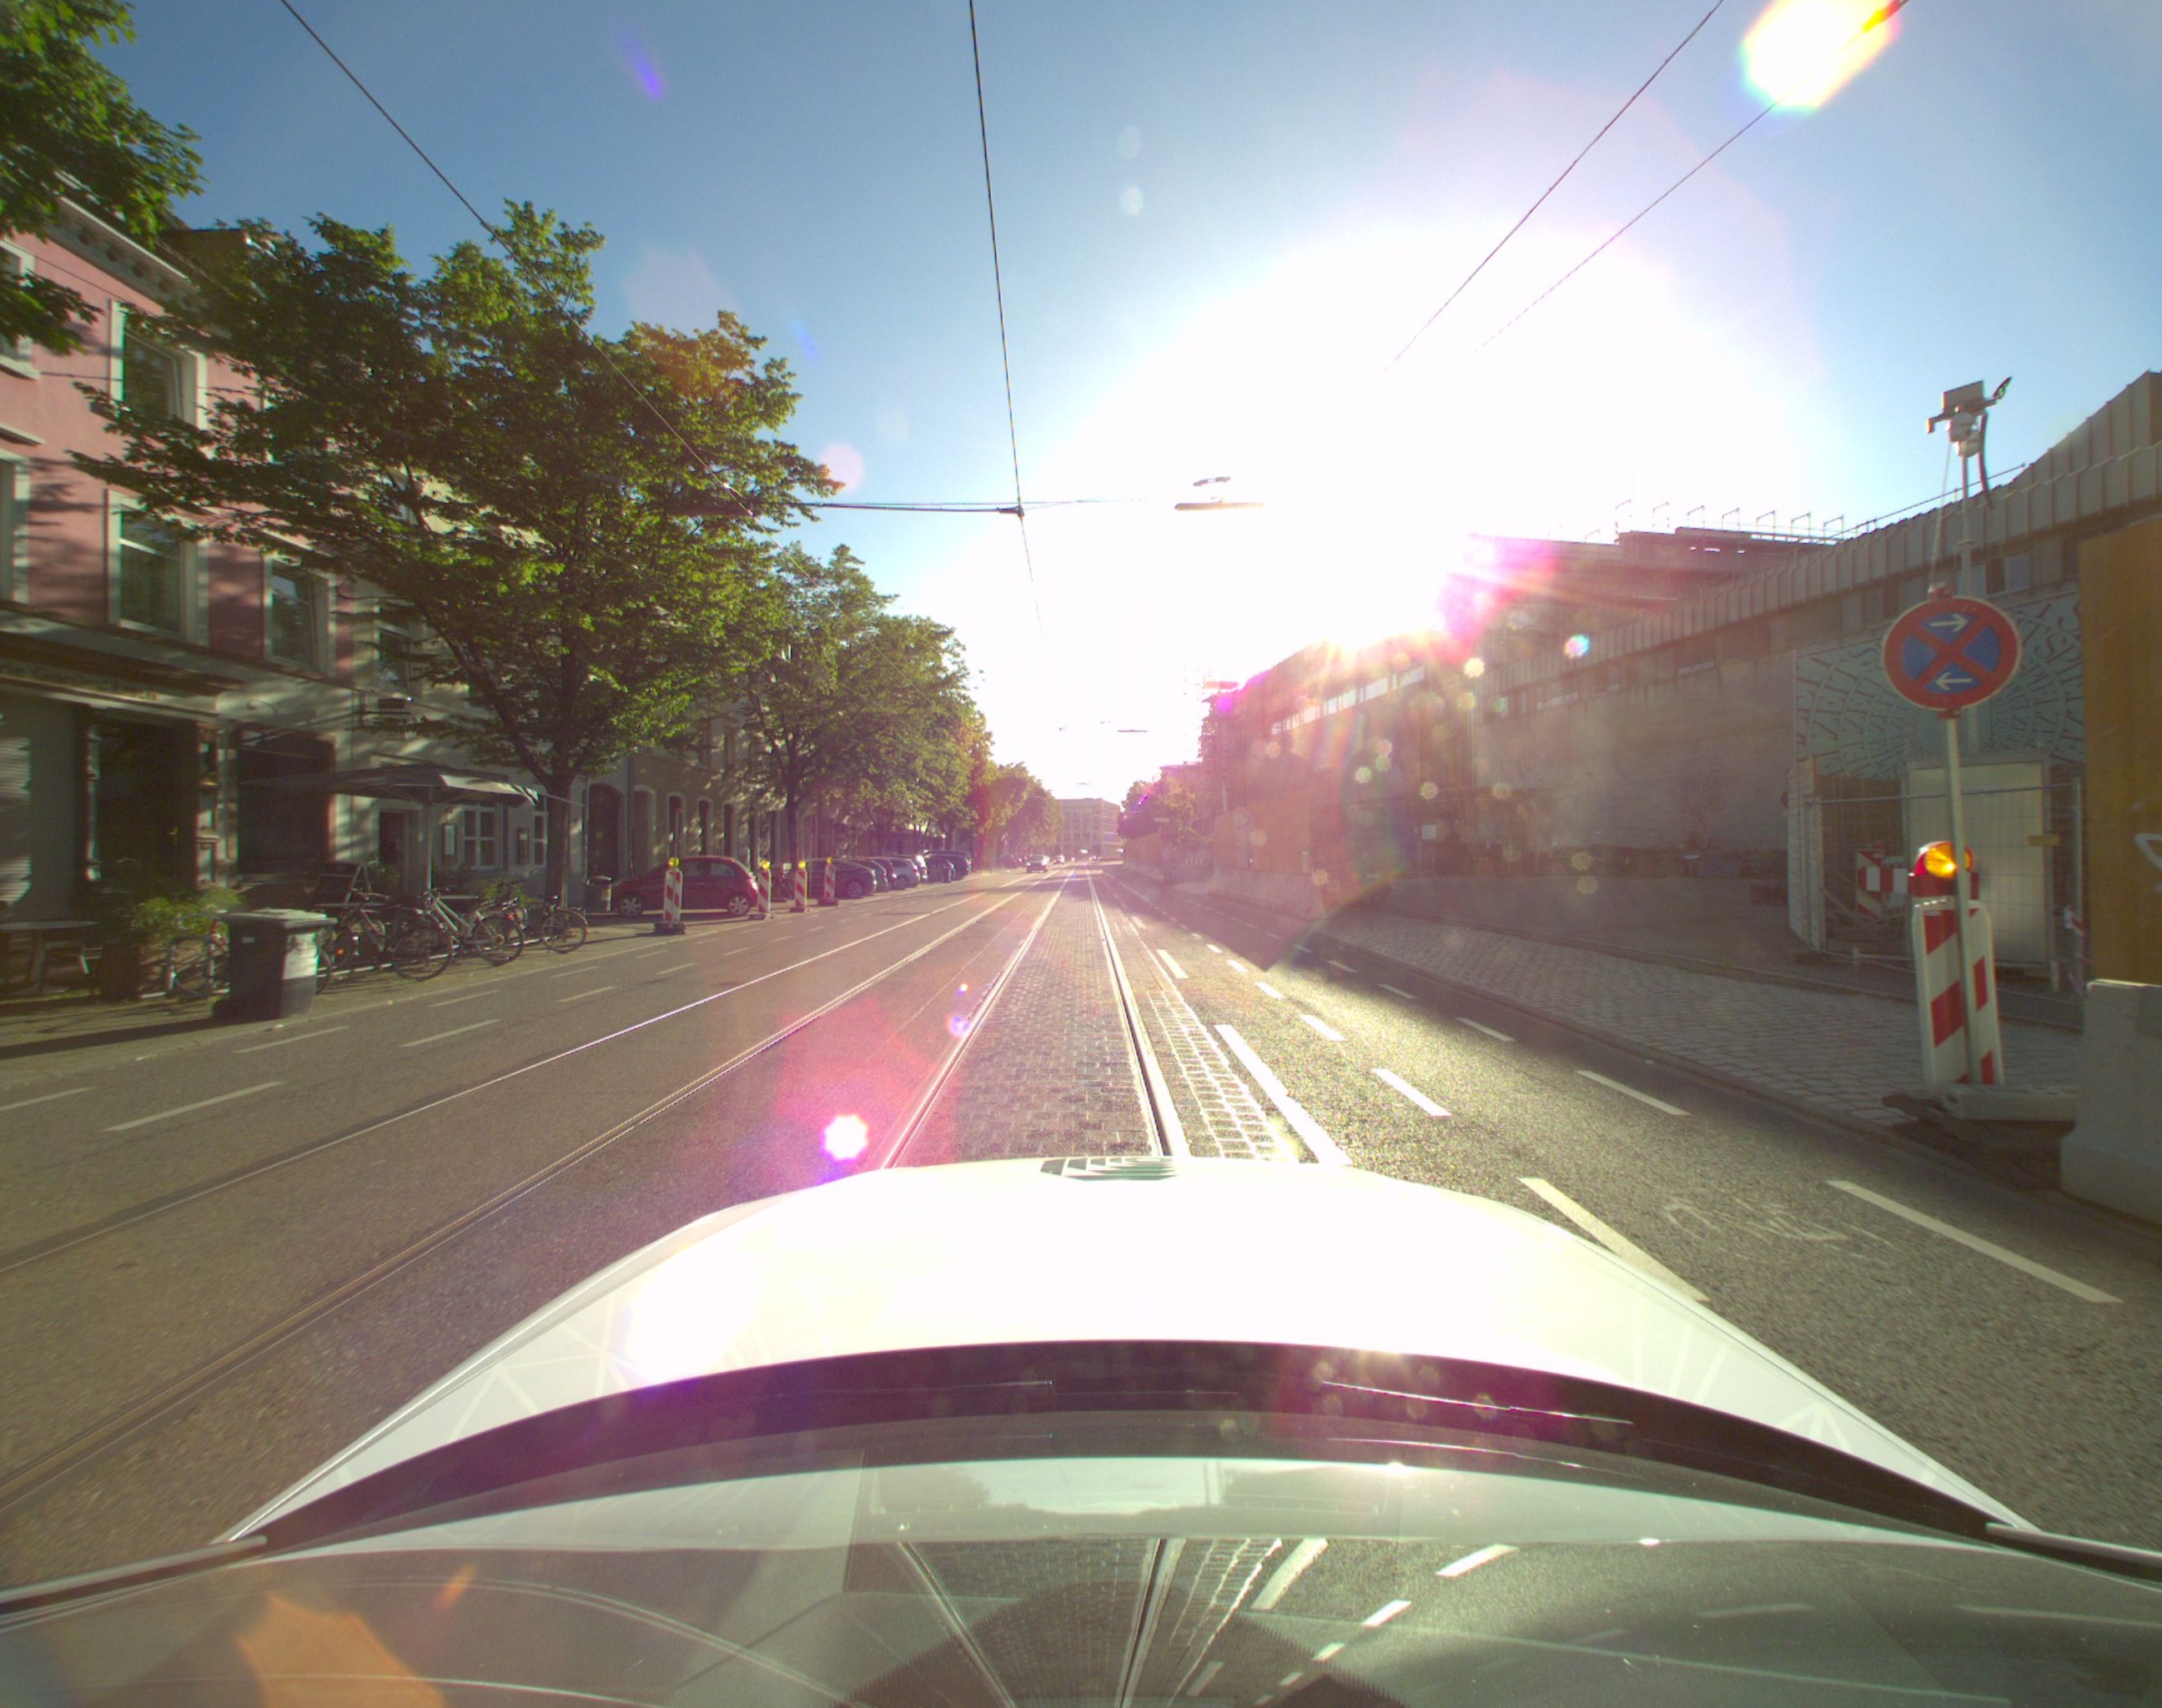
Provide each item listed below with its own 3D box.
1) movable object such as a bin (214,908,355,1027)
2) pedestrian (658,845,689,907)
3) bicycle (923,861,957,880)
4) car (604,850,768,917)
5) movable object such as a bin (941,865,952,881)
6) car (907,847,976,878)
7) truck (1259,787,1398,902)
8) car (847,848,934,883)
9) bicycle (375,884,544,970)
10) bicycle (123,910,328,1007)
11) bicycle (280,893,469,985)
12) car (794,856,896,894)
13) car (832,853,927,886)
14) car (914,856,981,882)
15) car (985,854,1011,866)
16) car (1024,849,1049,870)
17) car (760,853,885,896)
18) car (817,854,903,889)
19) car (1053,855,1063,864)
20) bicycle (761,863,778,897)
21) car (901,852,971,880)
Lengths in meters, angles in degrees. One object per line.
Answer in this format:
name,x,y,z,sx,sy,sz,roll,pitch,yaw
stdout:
movable object such as a bin,-8.045,1.126,8.258,0.681,1.078,0.710,2,0,1
pedestrian,-13.604,0.723,27.194,0.728,2.013,0.556,-1,0,1
bicycle,-8.515,1.005,49.168,1.971,1.144,0.489,1,-1,-19
car,-10.052,0.726,20.901,3.632,1.553,1.654,1,1,-26
movable object such as a bin,-8.001,1.124,48.520,0.576,0.913,0.572,1,1,-16
car,-9.565,0.585,55.983,4.371,1.986,1.935,1,-1,-22
truck,7.252,-0.264,24.628,2.510,2.909,5.509,-4,0,1
car,-9.878,0.596,42.435,4.094,1.678,1.839,1,0,-3
bicycle,-9.063,1.046,11.913,1.995,1.087,0.568,3,0,2
bicycle,-9.307,1.121,8.903,1.600,0.988,0.387,1,0,-11
bicycle,-9.152,1.086,10.585,1.960,1.079,0.569,2,0,2
car,-9.602,0.838,33.204,3.694,1.470,1.737,1,-1,-29
car,-9.643,0.727,38.975,4.126,1.512,1.825,1,0,-27
car,-8.346,0.932,50.933,3.867,1.476,1.832,-2,0,-18
car,-10.018,0.743,98.426,2.950,1.332,1.204,-2,0,-28
car,-4.076,0.488,75.410,1.921,1.629,4.250,-4,1,1
car,-9.706,0.755,30.626,4.212,1.491,1.926,1,0,-27
car,-9.772,0.761,36.073,3.382,1.493,1.598,1,0,-28
car,-4.031,0.972,140.930,1.705,1.436,4.167,-1,0,-2
bicycle,-10.578,0.866,27.665,0.333,1.095,1.586,-2,0,-14
car,-9.514,0.782,53.283,4.251,1.685,1.798,-2,0,-21
